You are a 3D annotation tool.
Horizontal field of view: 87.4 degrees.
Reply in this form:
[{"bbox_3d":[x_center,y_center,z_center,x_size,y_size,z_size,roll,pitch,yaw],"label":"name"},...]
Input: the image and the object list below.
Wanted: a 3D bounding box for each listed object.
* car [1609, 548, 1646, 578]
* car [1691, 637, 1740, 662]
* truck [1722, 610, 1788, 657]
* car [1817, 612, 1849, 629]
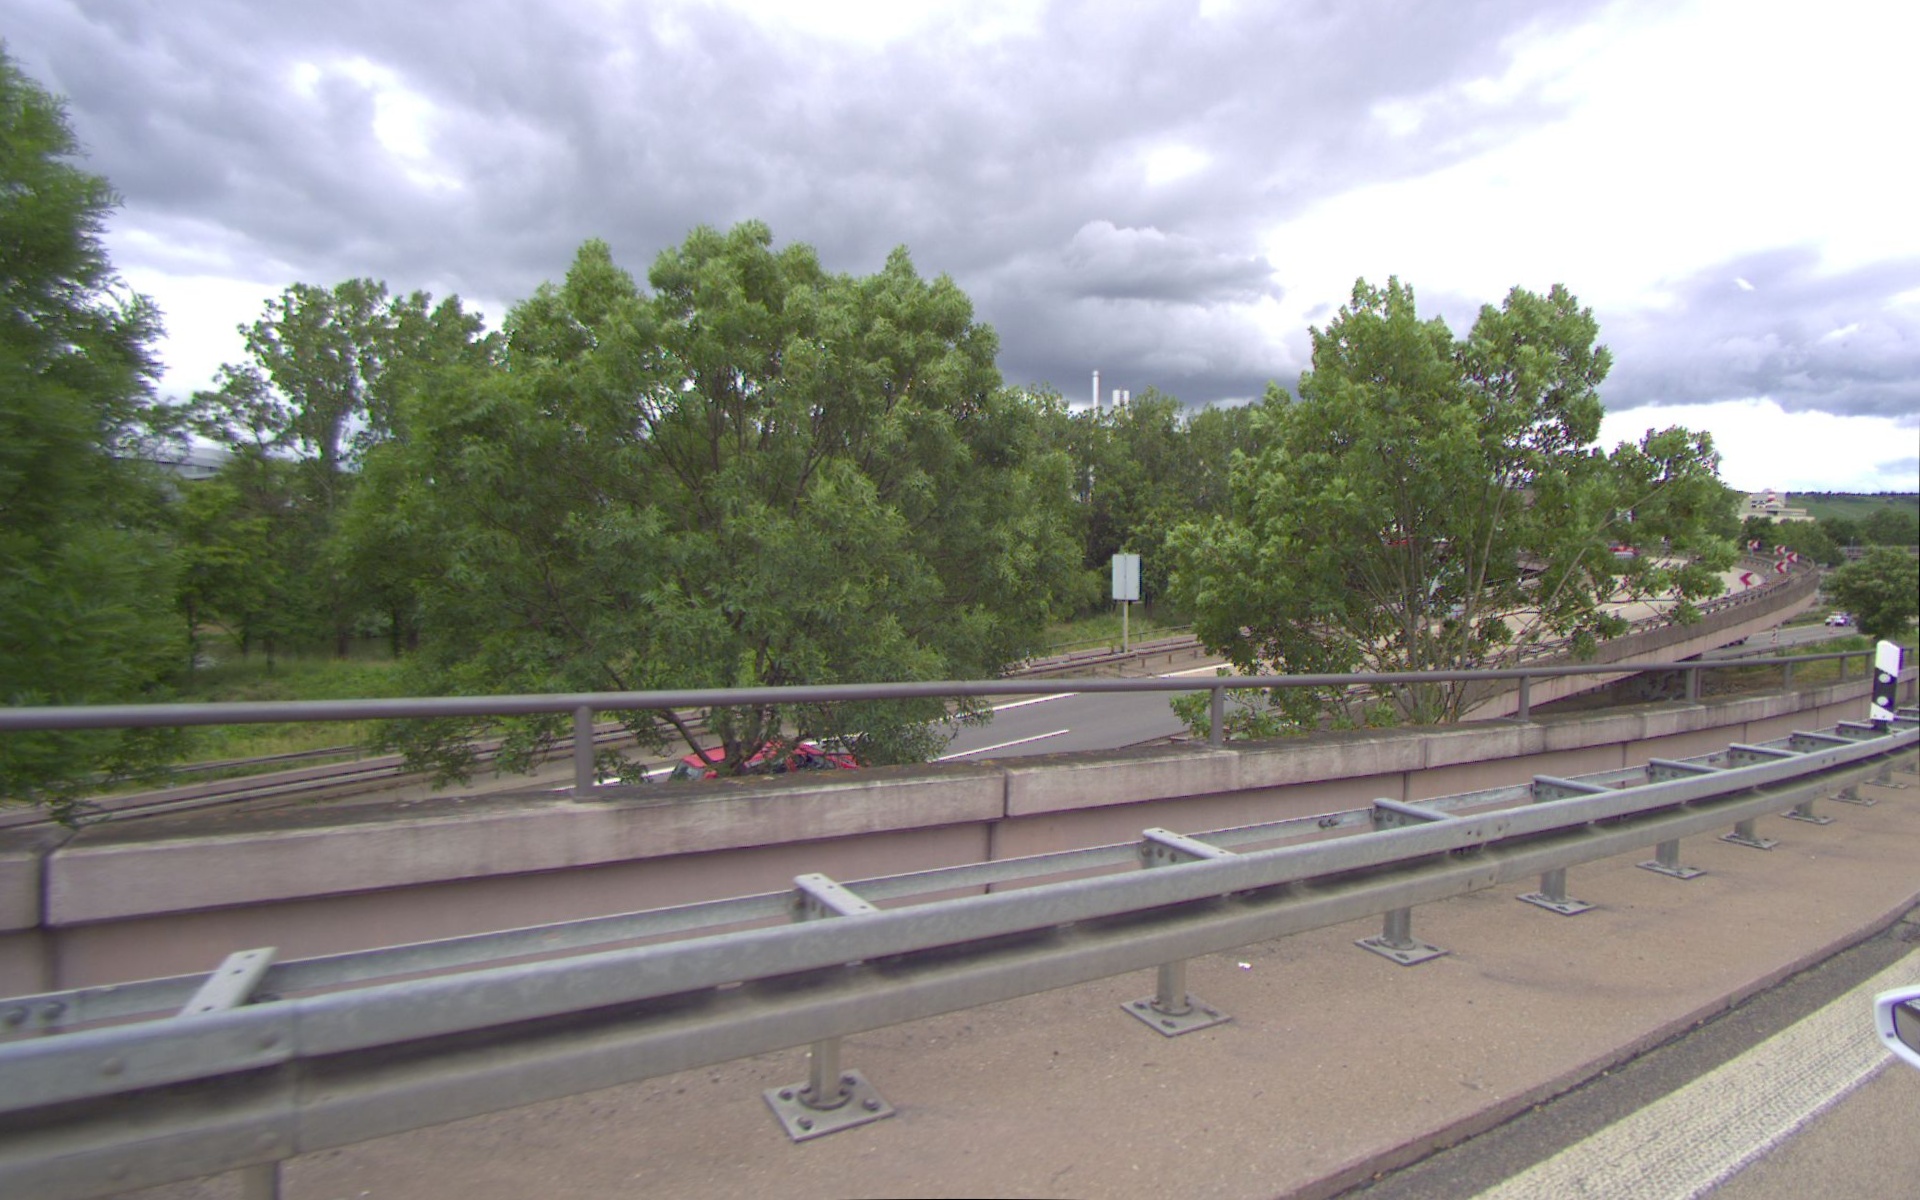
[{"bbox_3d":[44.934,-2.479,67.646,1.966,1.795,3.988,3,0,34],"label":"car"},{"bbox_3d":[61.150,3.979,81.306,4.060,1.736,1.980,-1,3,-35],"label":"car"},{"bbox_3d":[71.578,2.921,90.392,7.331,3.706,3.026,-1,3,-39],"label":"truck"},{"bbox_3d":[96.717,2.238,111.304,3.966,1.640,1.977,-1,3,-40],"label":"car"}]
